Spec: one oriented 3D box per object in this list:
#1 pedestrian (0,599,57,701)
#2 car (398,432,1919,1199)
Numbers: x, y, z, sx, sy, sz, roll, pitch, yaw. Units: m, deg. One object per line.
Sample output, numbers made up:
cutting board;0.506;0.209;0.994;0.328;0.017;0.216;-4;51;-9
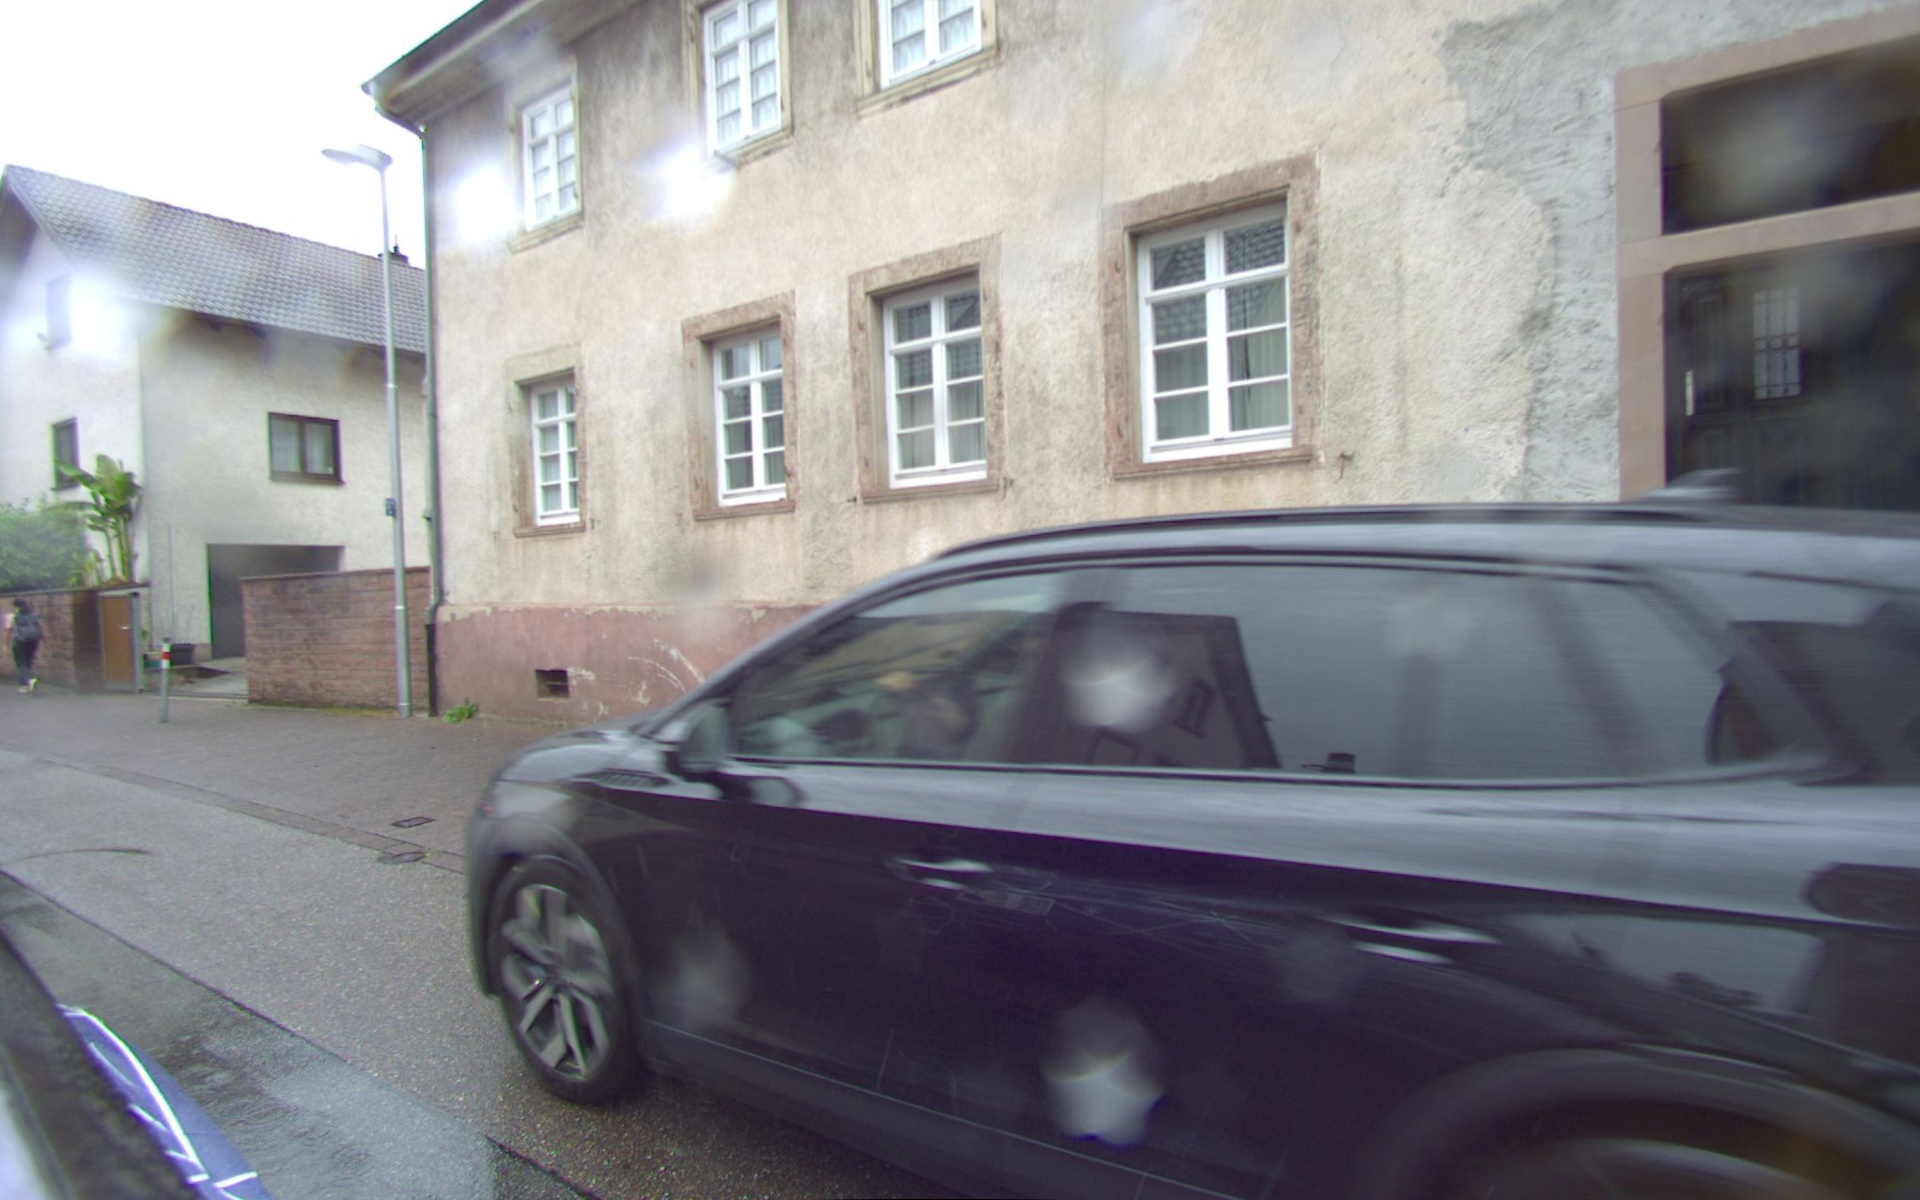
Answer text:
pedestrian;-15.017;0.781;16.170;0.830;1.549;0.568;-1;2;30
car;0.540;0.556;2.618;4.231;1.567;1.817;-1;3;36
